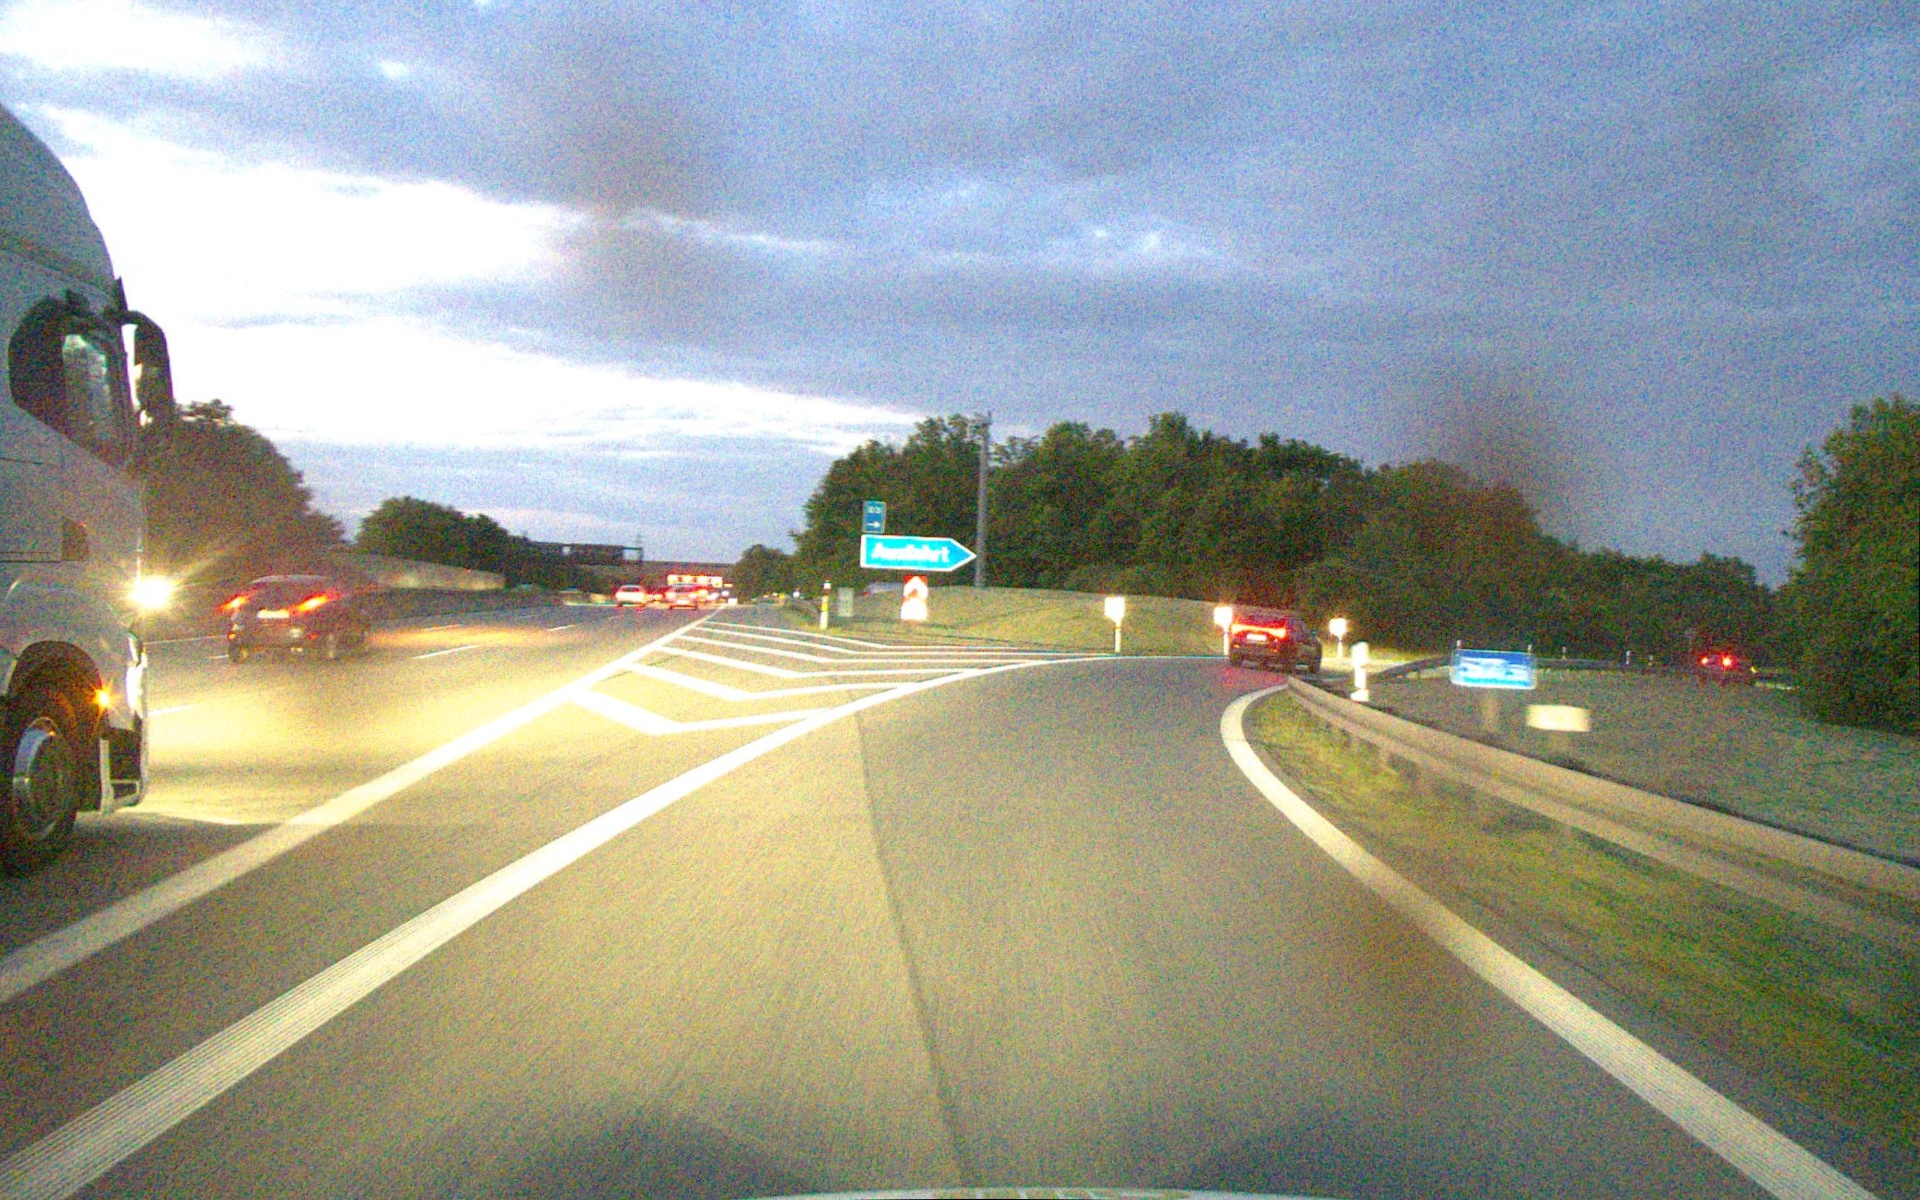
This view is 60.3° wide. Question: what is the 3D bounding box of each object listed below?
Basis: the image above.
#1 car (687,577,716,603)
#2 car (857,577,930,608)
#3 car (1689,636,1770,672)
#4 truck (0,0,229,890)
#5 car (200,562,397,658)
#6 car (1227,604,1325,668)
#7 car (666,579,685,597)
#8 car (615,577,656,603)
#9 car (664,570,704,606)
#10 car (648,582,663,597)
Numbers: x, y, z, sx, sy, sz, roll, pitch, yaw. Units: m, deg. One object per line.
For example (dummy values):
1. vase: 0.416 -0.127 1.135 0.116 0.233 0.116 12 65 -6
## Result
1. car: -20.939 -0.806 134.189 1.954 2.049 3.997 1 1 -4
2. car: -5.071 -0.592 126.535 5.029 2.048 2.266 3 0 26
3. car: 39.580 2.774 85.054 3.952 1.626 1.977 3 1 -34
4. truck: -5.595 -0.705 7.091 2.726 3.970 6.146 1 1 -6
5. car: -11.578 0.130 29.279 1.954 1.524 4.544 1 1 -5
6. car: 9.327 0.999 48.561 1.953 1.688 4.314 3 1 22
7. car: -33.134 -1.420 192.659 2.035 2.049 3.987 0 1 -13
8. car: -21.903 -0.681 111.800 1.953 1.671 4.554 1 1 -1
9. car: -16.308 -0.721 97.976 1.954 2.049 3.997 1 1 -4
10. car: -41.607 -1.432 225.954 2.067 2.049 3.990 0 1 -11
